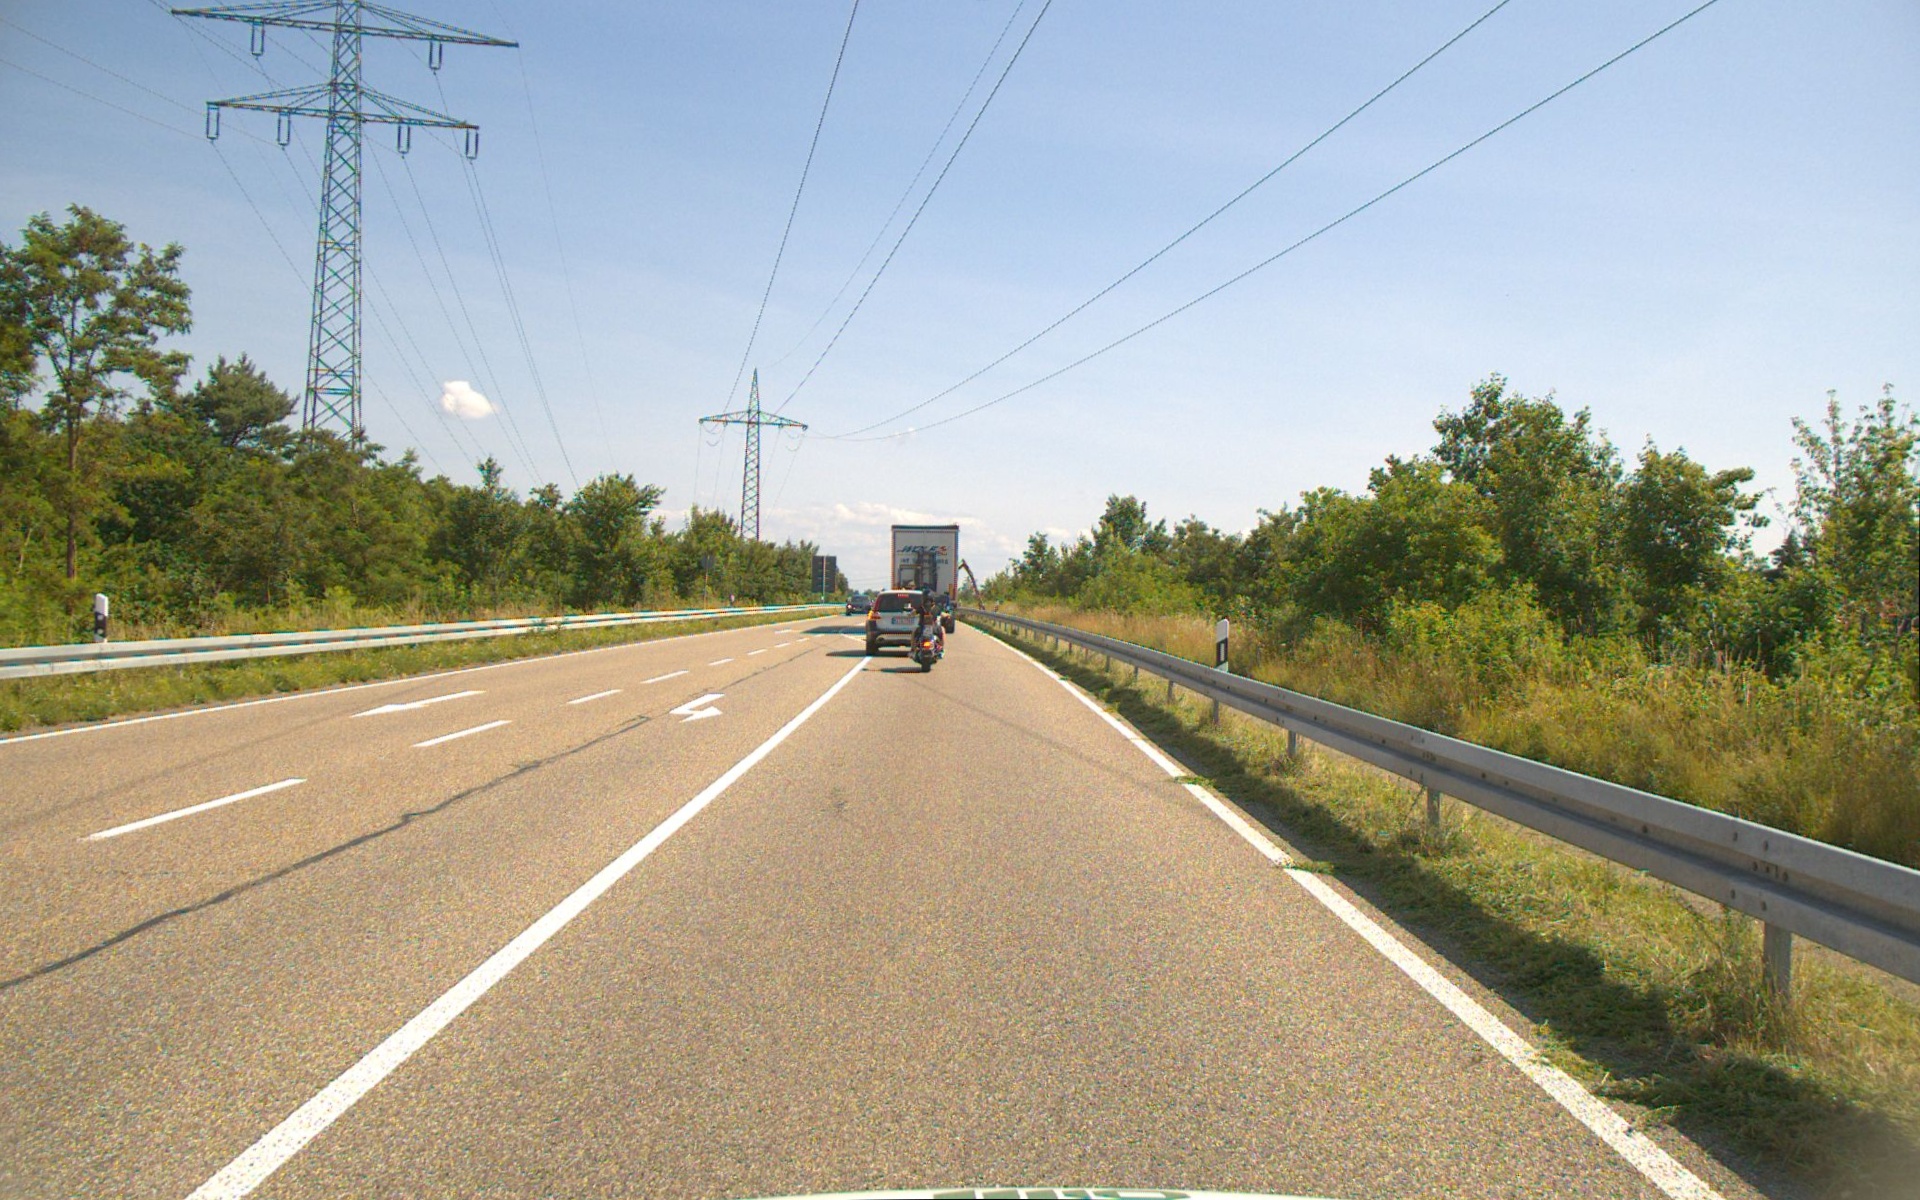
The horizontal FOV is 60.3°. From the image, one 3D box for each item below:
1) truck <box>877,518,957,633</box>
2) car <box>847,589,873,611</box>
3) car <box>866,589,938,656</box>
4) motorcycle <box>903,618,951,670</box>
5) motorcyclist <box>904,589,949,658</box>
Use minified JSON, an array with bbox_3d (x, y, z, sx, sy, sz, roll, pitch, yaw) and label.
[{"bbox_3d":[-1.662,-0.930,69.390,2.907,4.260,14.820,1,0,0],"label":"truck"},{"bbox_3d":[-7.293,-0.027,120.745,1.692,1.517,4.421,1,0,-2],"label":"car"},{"bbox_3d":[-1.403,0.523,40.572,1.666,1.563,3.498,1,0,-1],"label":"car"},{"bbox_3d":[-0.651,0.827,31.898,0.842,0.931,2.226,1,0,-3],"label":"motorcycle"},{"bbox_3d":[-0.656,0.451,31.943,0.820,1.303,0.918,1,0,-4],"label":"motorcyclist"}]
